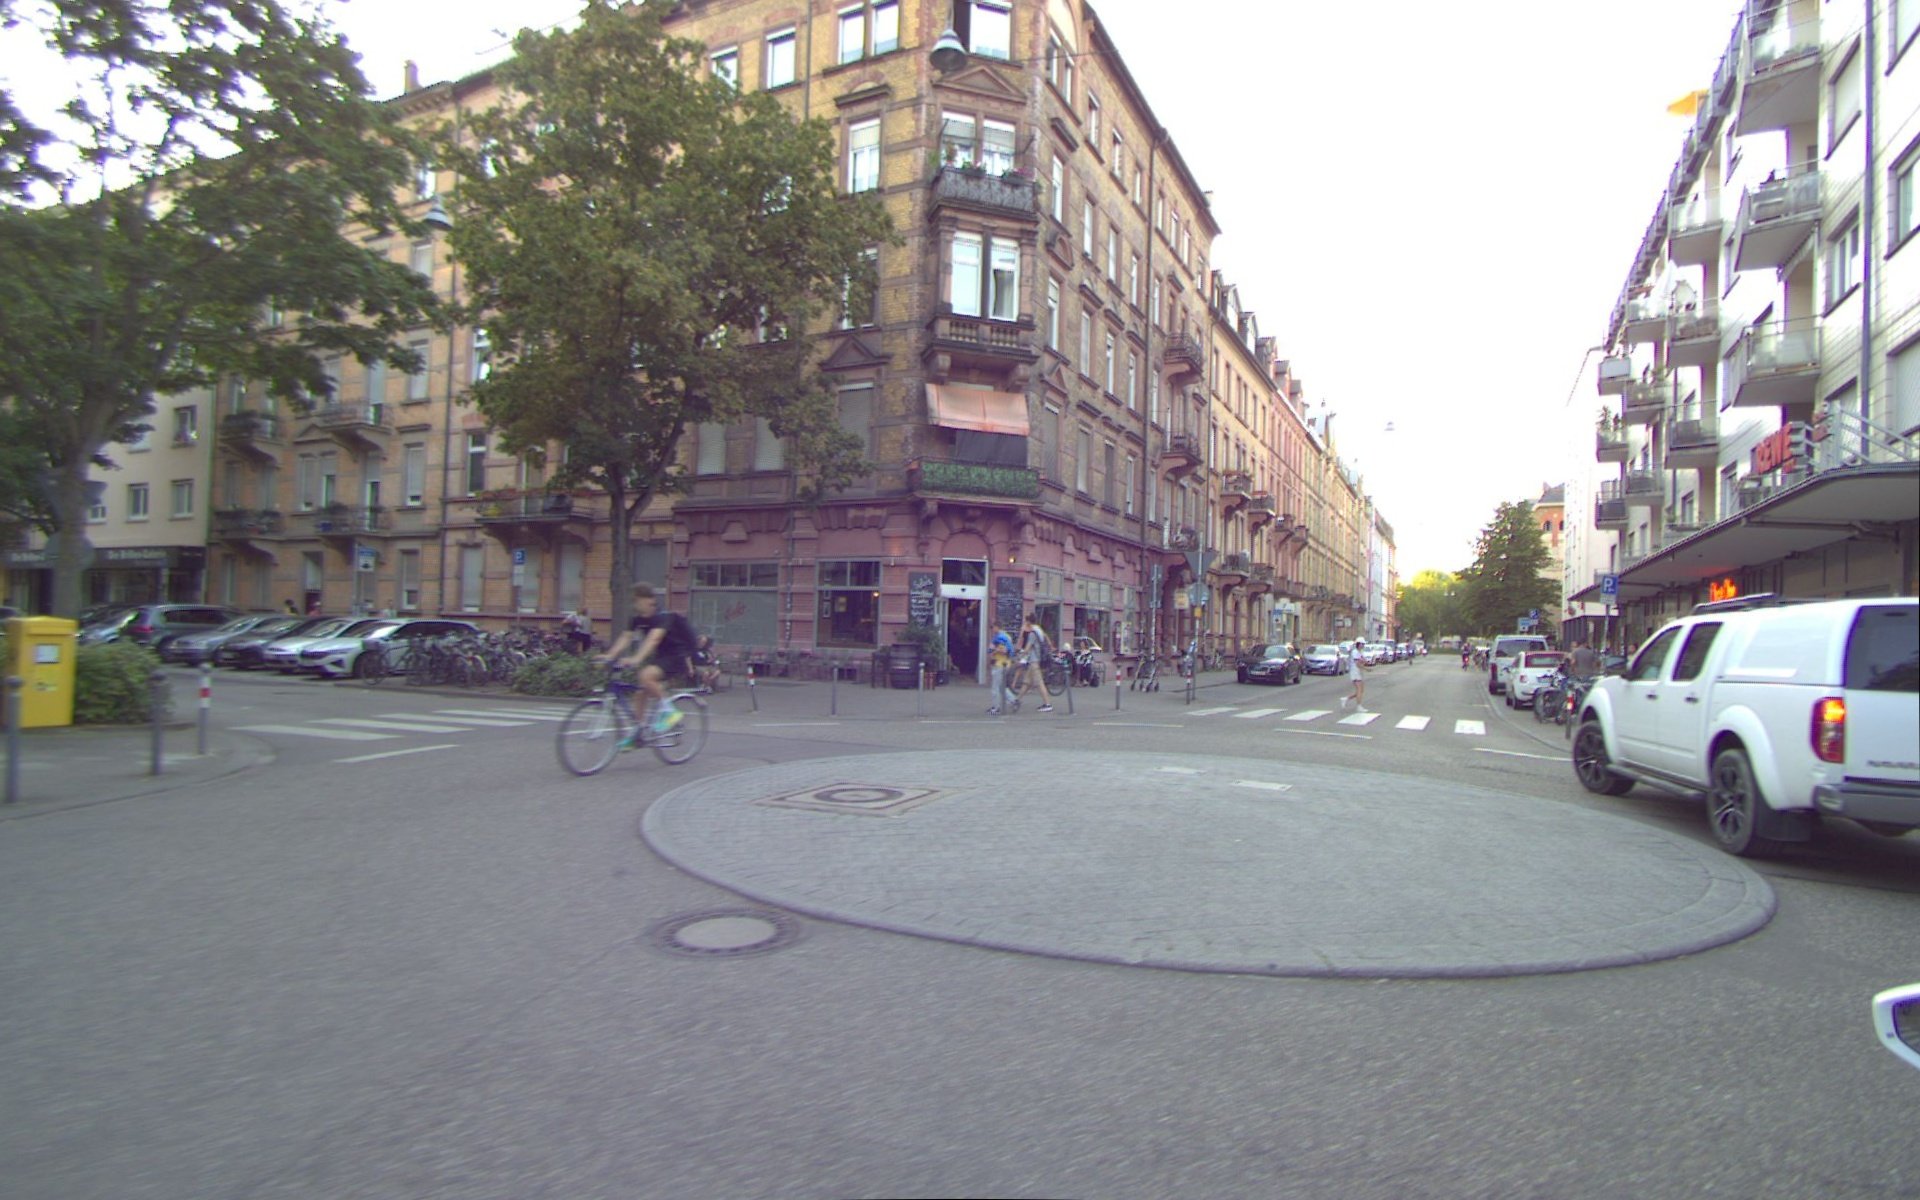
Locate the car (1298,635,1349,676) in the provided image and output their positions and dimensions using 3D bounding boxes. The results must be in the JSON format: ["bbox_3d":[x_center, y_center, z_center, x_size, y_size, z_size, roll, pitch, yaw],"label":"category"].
[{"bbox_3d":[17.646,2.690,48.679,1.806,1.773,4.159,2,-2,26],"label":"car"}]

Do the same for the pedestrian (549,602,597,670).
[{"bbox_3d":[-10.287,0.952,26.733,0.905,1.747,0.667,2,-1,27],"label":"pedestrian"}]

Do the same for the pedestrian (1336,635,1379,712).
[{"bbox_3d":[8.950,1.639,22.619,0.785,1.642,0.944,2,-2,25],"label":"pedestrian"}]

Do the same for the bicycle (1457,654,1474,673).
[{"bbox_3d":[32.402,4.064,64.399,0.825,1.187,1.935,2,-2,24],"label":"bicycle"}]

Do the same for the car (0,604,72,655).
[{"bbox_3d":[-36.338,1.058,37.365,1.963,1.822,4.493,2,-2,26],"label":"car"}]

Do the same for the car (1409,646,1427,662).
[{"bbox_3d":[55.009,6.524,120.535,1.806,1.773,3.997,2,-2,26],"label":"car"}]

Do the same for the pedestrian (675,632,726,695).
[{"bbox_3d":[-5.535,1.358,21.447,0.742,1.279,0.667,2,-2,27],"label":"pedestrian"}]

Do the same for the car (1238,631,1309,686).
[{"bbox_3d":[11.333,2.077,36.150,1.806,1.773,3.997,2,-2,26],"label":"car"}]

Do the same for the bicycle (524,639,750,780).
[{"bbox_3d":[-3.076,1.014,9.763,0.827,1.187,1.930,2,-2,36],"label":"bicycle"}]

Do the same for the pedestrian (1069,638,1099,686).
[{"bbox_3d":[3.460,1.721,27.968,0.638,1.302,0.539,2,-1,24],"label":"pedestrian"}]

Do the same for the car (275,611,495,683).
[{"bbox_3d":[-14.509,1.203,25.666,1.963,1.599,4.493,2,-2,26],"label":"car"}]

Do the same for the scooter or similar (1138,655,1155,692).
[{"bbox_3d":[5.055,1.973,27.246,0.229,0.941,1.266,3,-2,2],"label":"scooter or similar"}]

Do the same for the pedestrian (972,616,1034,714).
[{"bbox_3d":[0.799,1.199,18.783,0.891,1.759,0.614,2,-2,33],"label":"pedestrian"}]

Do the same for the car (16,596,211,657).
[{"bbox_3d":[-28.072,0.937,33.507,1.963,1.822,4.493,2,-2,26],"label":"car"}]

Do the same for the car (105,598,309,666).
[{"bbox_3d":[-22.740,1.002,30.549,1.963,1.822,4.493,2,-2,26],"label":"car"}]

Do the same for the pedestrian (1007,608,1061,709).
[{"bbox_3d":[1.449,1.148,19.739,0.889,1.909,0.616,3,-1,-3],"label":"pedestrian"}]

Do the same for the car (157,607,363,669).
[{"bbox_3d":[-20.359,1.133,29.452,1.963,1.599,4.493,2,-2,26],"label":"car"}]

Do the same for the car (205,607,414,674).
[{"bbox_3d":[-18.157,1.155,28.293,1.963,1.641,4.493,2,-2,26],"label":"car"}]

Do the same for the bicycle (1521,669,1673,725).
[{"bbox_3d":[12.525,1.895,19.847,2.422,1.052,0.616,-2,-3,23],"label":"bicycle"}]

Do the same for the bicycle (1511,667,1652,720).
[{"bbox_3d":[13.008,1.951,21.115,2.422,1.052,0.617,-2,-3,23],"label":"bicycle"}]

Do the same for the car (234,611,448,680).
[{"bbox_3d":[-16.456,1.231,26.974,1.963,1.599,4.493,2,-2,26],"label":"car"}]

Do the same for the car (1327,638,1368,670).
[{"bbox_3d":[22.824,3.173,59.077,1.806,1.700,4.034,2,-2,26],"label":"car"}]

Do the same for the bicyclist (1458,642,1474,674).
[{"bbox_3d":[32.444,3.731,64.443,0.825,1.969,0.784,2,-1,24],"label":"bicyclist"}]

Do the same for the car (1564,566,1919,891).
[{"bbox_3d":[6.572,0.848,7.952,1.905,1.834,5.003,1,-2,17],"label":"car"}]

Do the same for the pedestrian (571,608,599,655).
[{"bbox_3d":[-10.549,0.888,28.244,0.570,1.279,0.451,4,-2,-38],"label":"pedestrian"}]

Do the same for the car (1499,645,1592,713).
[{"bbox_3d":[15.543,2.056,26.825,1.806,1.562,3.997,2,-2,26],"label":"car"}]

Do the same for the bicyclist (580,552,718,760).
[{"bbox_3d":[-3.026,0.523,9.800,0.827,1.900,0.875,2,-2,37],"label":"bicyclist"}]

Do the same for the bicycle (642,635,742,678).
[{"bbox_3d":[-7.248,1.507,27.087,2.852,0.971,0.625,2,-2,27],"label":"bicycle"}]

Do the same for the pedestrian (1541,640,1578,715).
[{"bbox_3d":[14.113,1.817,23.656,0.690,1.685,0.721,2,-2,32],"label":"pedestrian"}]

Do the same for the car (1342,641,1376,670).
[{"bbox_3d":[27.191,3.777,68.357,1.806,1.773,3.997,2,-2,26],"label":"car"}]

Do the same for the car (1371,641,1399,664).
[{"bbox_3d":[35.338,4.340,83.468,1.806,1.773,3.997,2,-2,26],"label":"car"}]

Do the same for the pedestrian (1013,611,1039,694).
[{"bbox_3d":[1.538,1.204,23.226,0.495,1.864,0.573,3,-1,5],"label":"pedestrian"}]

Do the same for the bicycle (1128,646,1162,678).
[{"bbox_3d":[6.332,2.108,34.373,0.381,1.050,2.480,2,-2,28],"label":"bicycle"}]

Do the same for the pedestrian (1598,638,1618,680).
[{"bbox_3d":[28.975,2.627,44.923,0.627,1.834,0.482,2,-2,40],"label":"pedestrian"}]

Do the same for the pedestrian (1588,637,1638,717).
[{"bbox_3d":[14.332,1.679,22.036,0.716,1.685,0.694,4,-2,-40],"label":"pedestrian"}]

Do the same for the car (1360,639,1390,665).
[{"bbox_3d":[31.684,3.968,76.583,1.806,1.773,3.997,2,-2,26],"label":"car"}]

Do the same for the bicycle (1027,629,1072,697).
[{"bbox_3d":[2.076,1.438,23.105,0.417,1.461,1.904,2,-2,23],"label":"bicycle"}]

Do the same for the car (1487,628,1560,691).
[{"bbox_3d":[19.397,2.037,34.715,1.912,1.959,3.997,2,-2,26],"label":"car"}]

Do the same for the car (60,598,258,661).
[{"bbox_3d":[-25.604,0.990,32.306,1.963,1.822,4.493,2,-2,26],"label":"car"}]

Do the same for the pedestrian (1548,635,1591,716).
[{"bbox_3d":[13.333,1.644,22.001,0.709,1.685,0.702,2,-1,28],"label":"pedestrian"}]

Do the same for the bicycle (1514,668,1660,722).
[{"bbox_3d":[12.741,1.918,20.501,2.422,1.052,0.617,-2,-3,23],"label":"bicycle"}]

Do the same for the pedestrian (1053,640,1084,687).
[{"bbox_3d":[2.899,1.707,26.924,0.638,1.206,0.539,2,-1,24],"label":"pedestrian"}]

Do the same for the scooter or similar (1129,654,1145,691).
[{"bbox_3d":[4.797,1.959,27.253,0.229,0.941,1.266,3,-2,2],"label":"scooter or similar"}]
